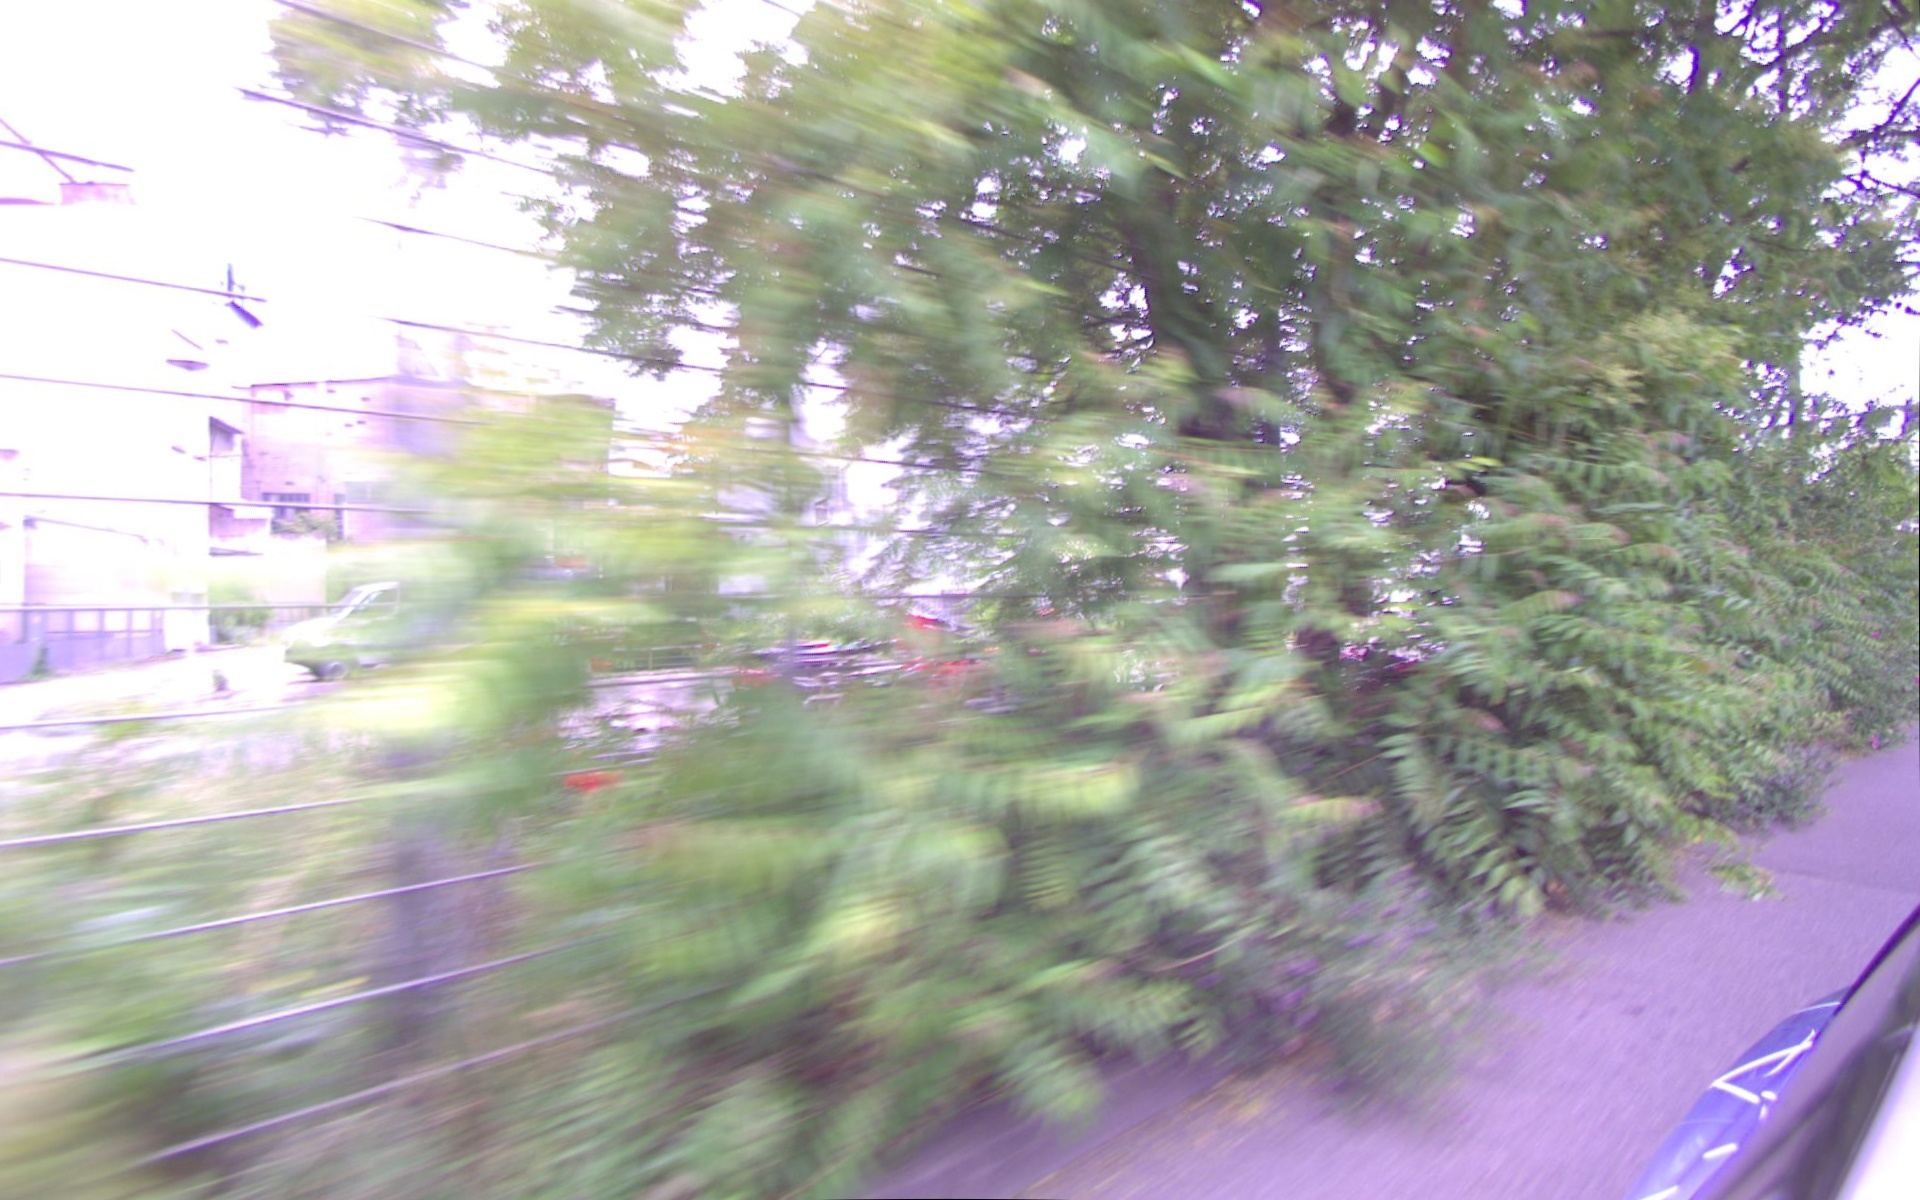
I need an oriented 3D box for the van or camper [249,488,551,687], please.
[{"bbox_3d":[-16.839,-0.382,29.686,5.392,4.587,11.827,-3,2,-40],"label":"van or camper"}]
